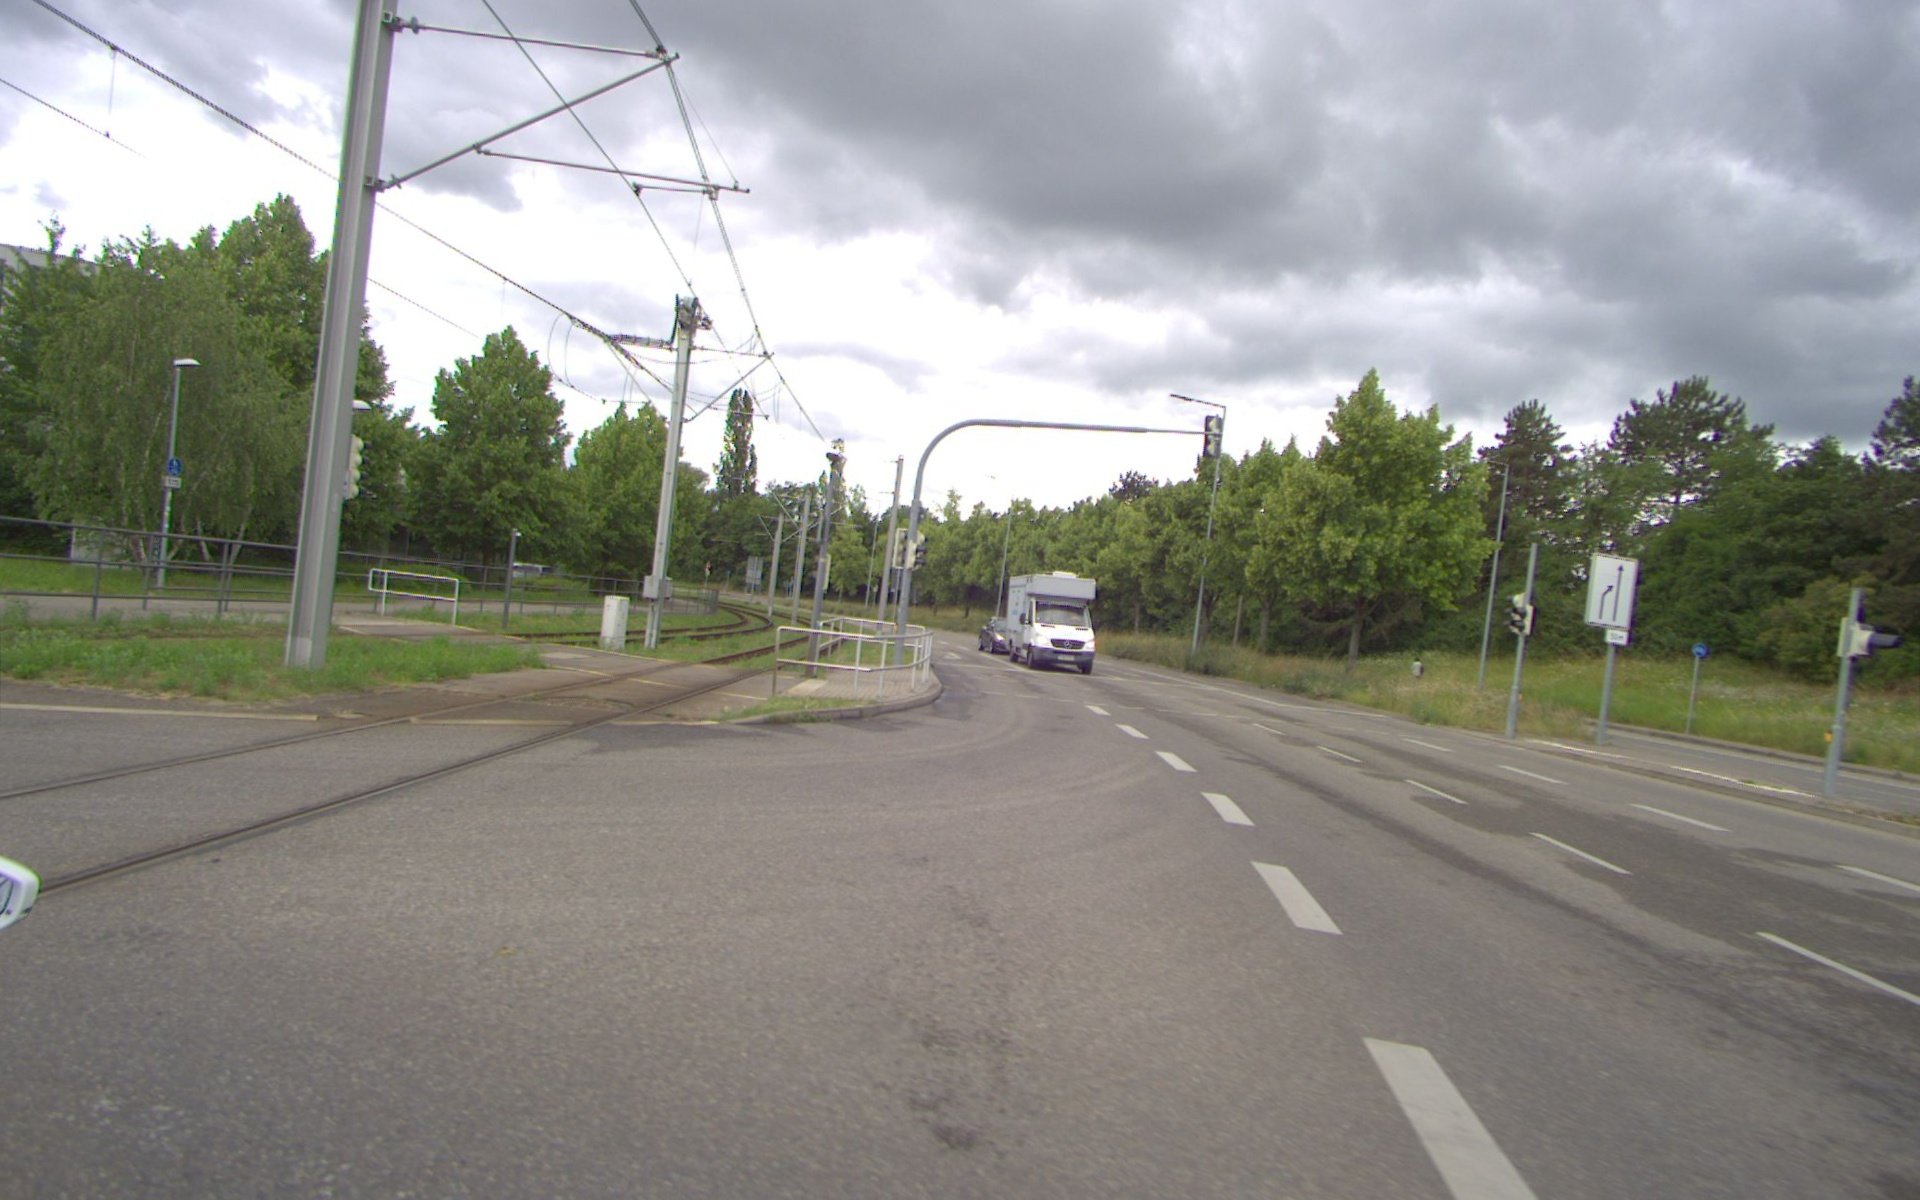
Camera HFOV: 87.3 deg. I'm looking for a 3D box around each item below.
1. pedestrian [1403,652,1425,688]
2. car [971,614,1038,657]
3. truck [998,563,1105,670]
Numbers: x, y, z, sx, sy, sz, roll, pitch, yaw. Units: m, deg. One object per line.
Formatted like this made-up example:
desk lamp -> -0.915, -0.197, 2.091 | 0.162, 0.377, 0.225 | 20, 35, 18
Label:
pedestrian -> 23.233, 3.583, 51.479 | 0.727, 1.739, 0.625 | 6, 1, 4
car -> 1.755, 1.407, 41.074 | 1.965, 1.415, 3.995 | 6, -1, -8
truck -> 2.822, 0.505, 32.807 | 2.073, 3.049, 6.267 | 3, 0, -7
